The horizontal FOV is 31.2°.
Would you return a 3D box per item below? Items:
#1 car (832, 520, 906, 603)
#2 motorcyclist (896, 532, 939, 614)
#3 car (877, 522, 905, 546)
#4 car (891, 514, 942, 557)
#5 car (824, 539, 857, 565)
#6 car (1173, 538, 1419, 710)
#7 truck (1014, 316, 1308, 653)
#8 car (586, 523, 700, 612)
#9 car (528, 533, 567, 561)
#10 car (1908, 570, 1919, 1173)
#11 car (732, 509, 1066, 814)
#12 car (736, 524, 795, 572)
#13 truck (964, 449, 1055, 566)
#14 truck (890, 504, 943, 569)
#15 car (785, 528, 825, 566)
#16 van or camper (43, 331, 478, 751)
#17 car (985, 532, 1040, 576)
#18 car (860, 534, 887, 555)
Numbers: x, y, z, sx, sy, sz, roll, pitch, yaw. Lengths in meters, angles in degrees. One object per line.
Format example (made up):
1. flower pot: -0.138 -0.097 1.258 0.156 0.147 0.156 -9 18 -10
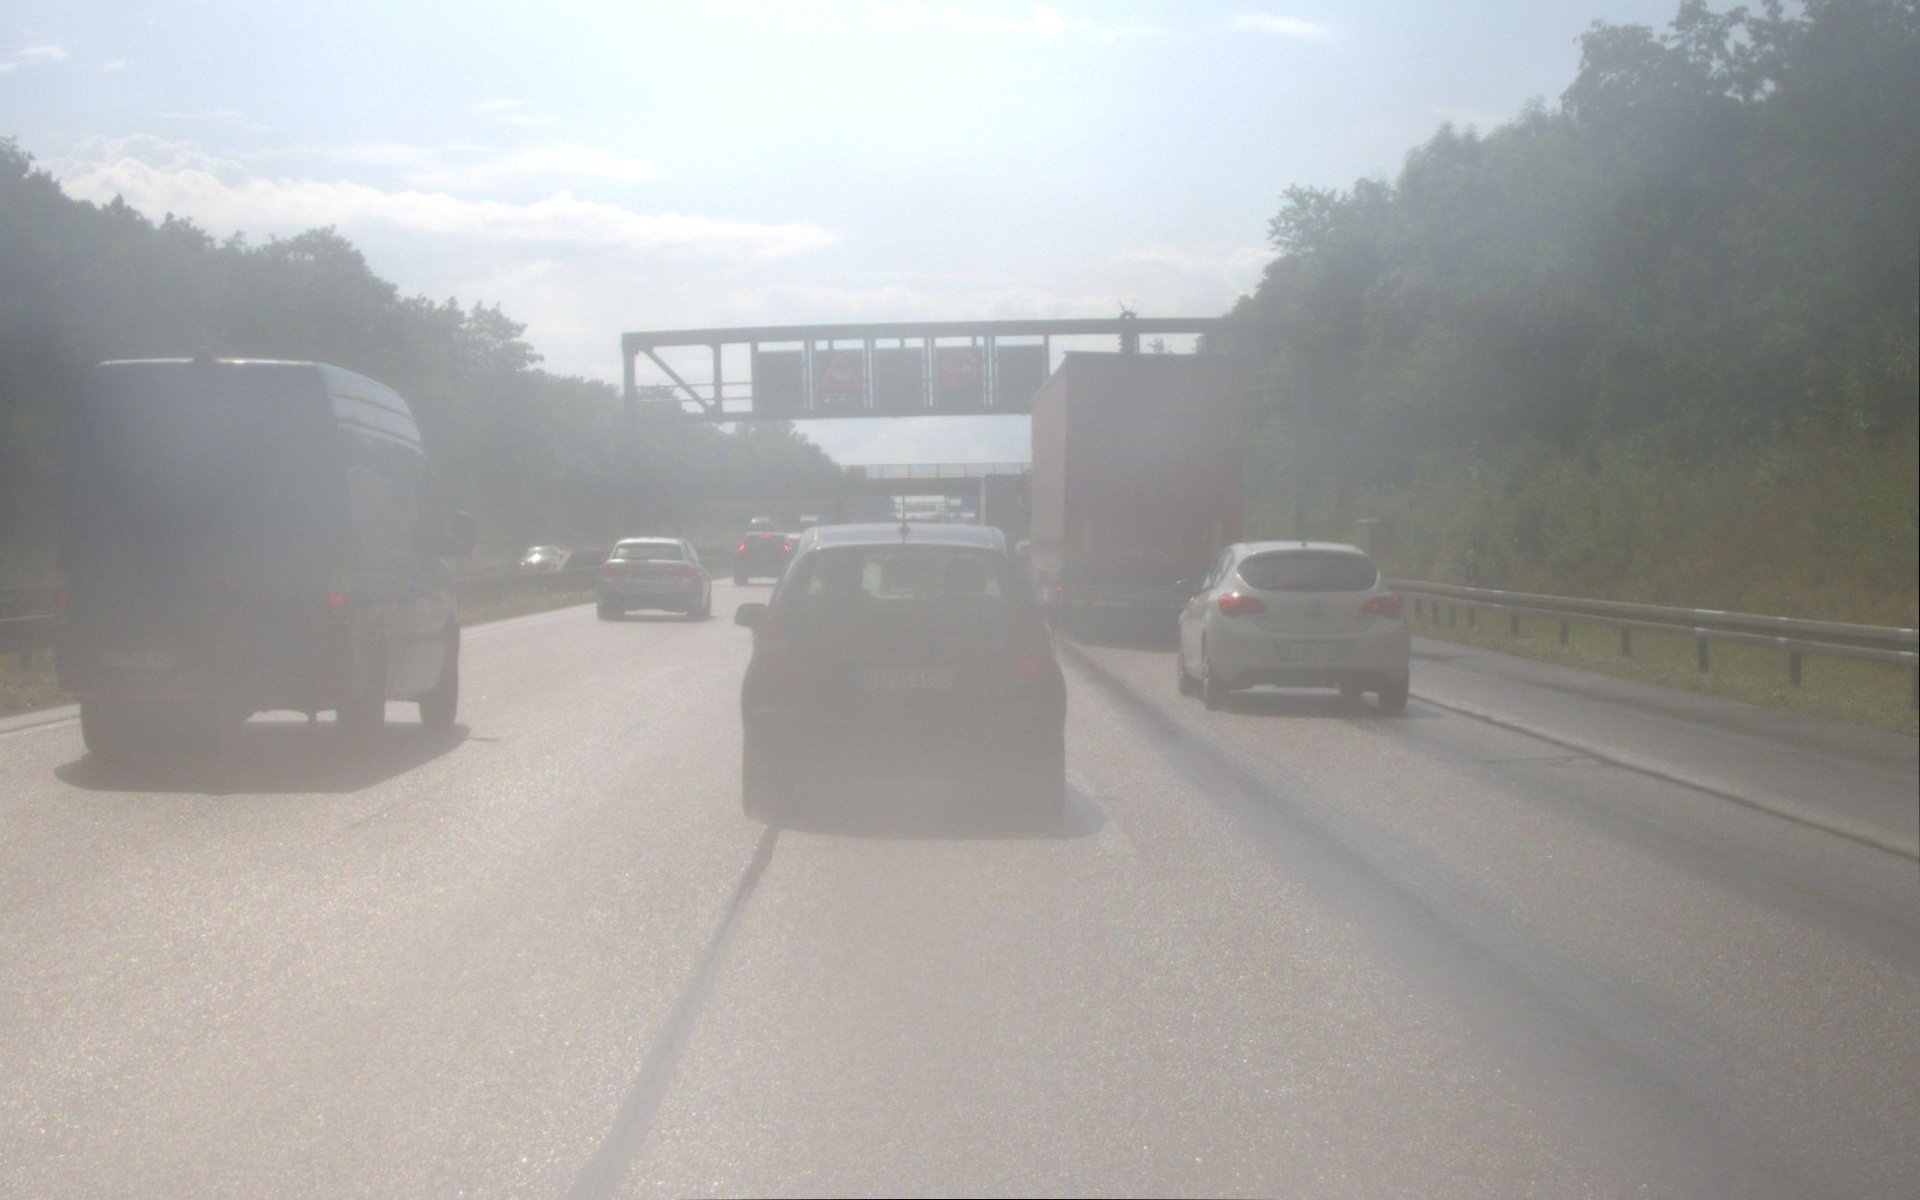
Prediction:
1. car: -2.004 -0.848 74.987 1.531 1.740 3.485 1 1 -2
2. motorcyclist: -0.845 -0.543 68.628 0.801 1.627 1.013 1 1 -2
3. car: -5.024 -4.833 251.774 1.993 1.728 4.000 0 1 -1
4. car: -1.441 -2.116 112.720 1.552 1.378 3.210 1 1 -2
5. car: -5.911 -2.397 170.013 1.549 1.262 3.485 1 1 -3
6. car: 2.982 0.172 31.219 1.680 1.437 3.905 1 1 -2
7. truck: 2.968 -1.777 56.943 3.650 4.704 16.780 1 1 -1
8. car: -5.695 -0.605 62.142 1.854 1.546 3.485 1 1 -2
9. car: -19.915 -2.547 165.967 1.507 1.318 3.335 1 1 -1
10. car: 3.145 0.686 6.084 1.692 1.420 4.220 1 1 -1
11. car: -0.387 0.289 19.601 1.717 1.562 3.485 1 1 -2
12. car: -6.057 -1.617 107.189 1.751 1.452 3.390 1 1 -2
13. truck: 1.912 -3.671 138.436 3.256 4.464 12.422 1 1 -1
14. truck: -1.988 -2.859 155.568 2.192 2.865 4.850 1 1 -2
15. car: -5.863 -2.000 130.310 1.460 1.389 3.312 1 1 -2
16. van or camper: -4.853 -0.422 24.681 1.993 2.659 5.385 1 1 0
17. car: 1.678 -1.493 110.705 1.552 1.378 3.210 1 1 -2
18. car: -5.326 -3.402 210.661 1.549 1.262 3.485 1 1 -3
